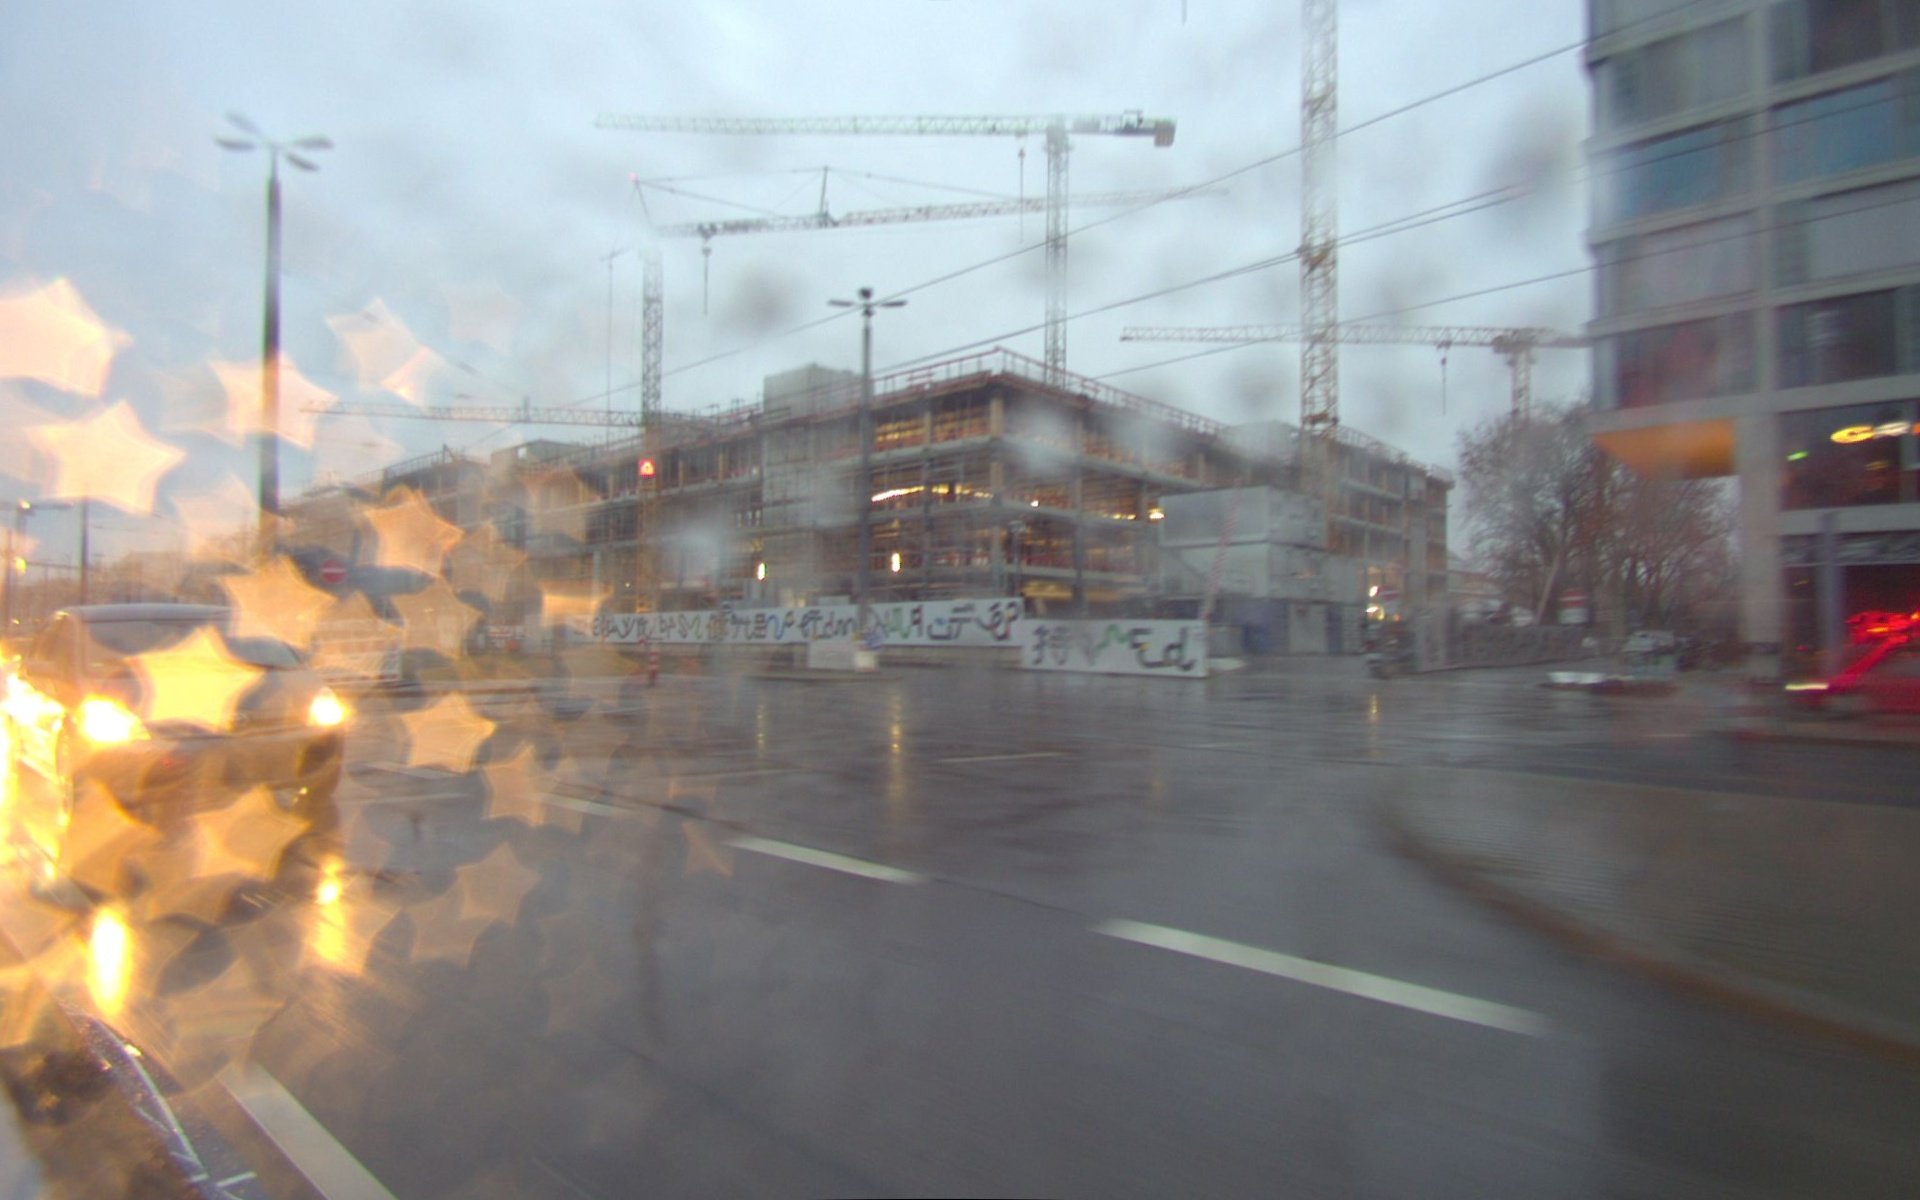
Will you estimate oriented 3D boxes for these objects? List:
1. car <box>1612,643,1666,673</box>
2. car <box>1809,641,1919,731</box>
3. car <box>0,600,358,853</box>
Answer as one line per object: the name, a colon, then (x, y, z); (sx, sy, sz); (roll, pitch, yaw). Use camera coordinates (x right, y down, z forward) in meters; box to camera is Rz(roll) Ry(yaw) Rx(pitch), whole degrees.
car: (38.407, 3.225, 57.225); (1.887, 1.586, 3.943); (-2, -3, 43)
car: (18.779, 1.624, 19.143); (1.860, 1.586, 4.002); (0, -1, -45)
car: (-6.682, 0.843, 8.431); (3.998, 1.606, 1.741); (-1, -1, 41)
